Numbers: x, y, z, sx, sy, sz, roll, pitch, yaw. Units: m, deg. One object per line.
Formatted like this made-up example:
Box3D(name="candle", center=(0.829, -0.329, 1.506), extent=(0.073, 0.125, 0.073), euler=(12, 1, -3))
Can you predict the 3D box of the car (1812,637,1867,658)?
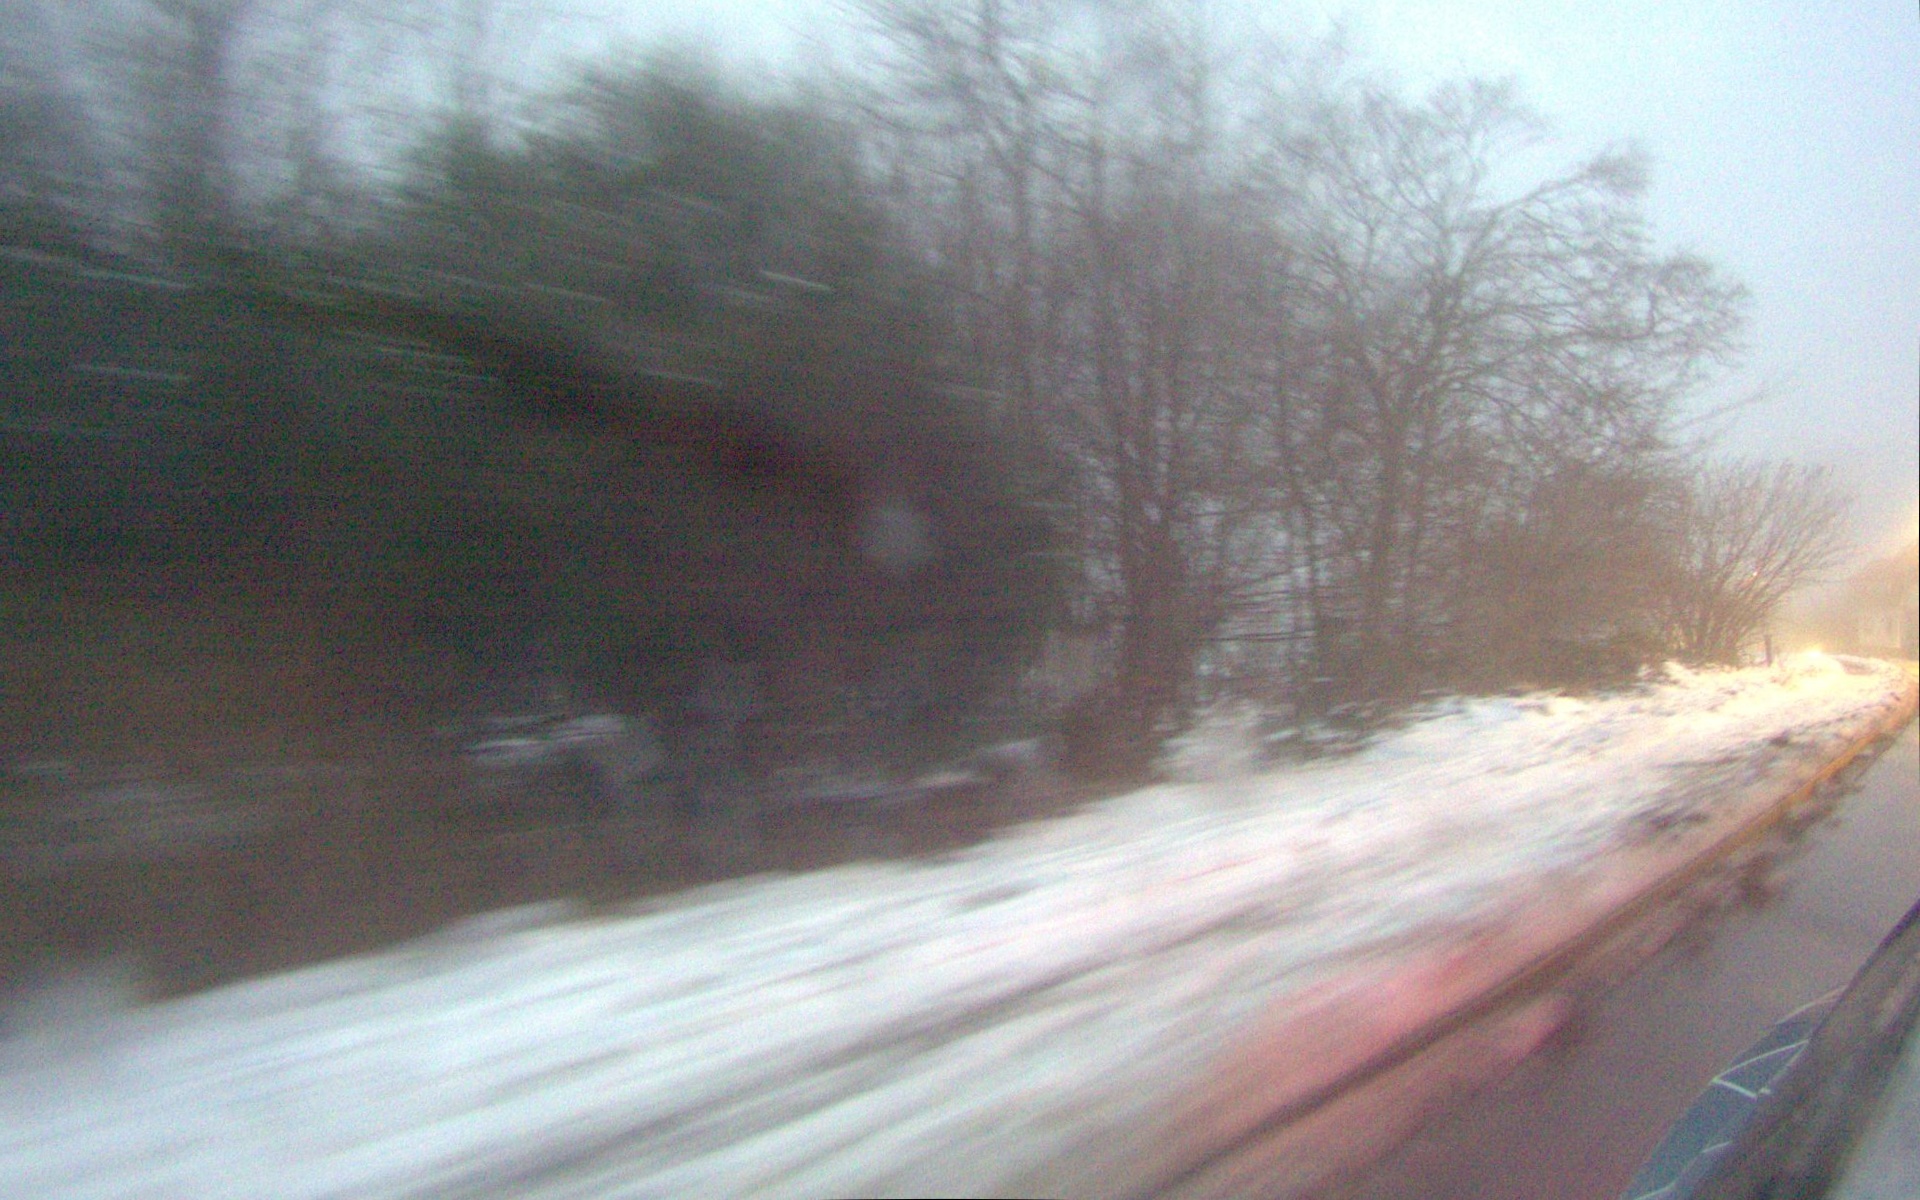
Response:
Box3D(name="car", center=(65.962, 3.604, 76.001), extent=(1.865, 1.445, 5.337), euler=(-1, -4, 27))
